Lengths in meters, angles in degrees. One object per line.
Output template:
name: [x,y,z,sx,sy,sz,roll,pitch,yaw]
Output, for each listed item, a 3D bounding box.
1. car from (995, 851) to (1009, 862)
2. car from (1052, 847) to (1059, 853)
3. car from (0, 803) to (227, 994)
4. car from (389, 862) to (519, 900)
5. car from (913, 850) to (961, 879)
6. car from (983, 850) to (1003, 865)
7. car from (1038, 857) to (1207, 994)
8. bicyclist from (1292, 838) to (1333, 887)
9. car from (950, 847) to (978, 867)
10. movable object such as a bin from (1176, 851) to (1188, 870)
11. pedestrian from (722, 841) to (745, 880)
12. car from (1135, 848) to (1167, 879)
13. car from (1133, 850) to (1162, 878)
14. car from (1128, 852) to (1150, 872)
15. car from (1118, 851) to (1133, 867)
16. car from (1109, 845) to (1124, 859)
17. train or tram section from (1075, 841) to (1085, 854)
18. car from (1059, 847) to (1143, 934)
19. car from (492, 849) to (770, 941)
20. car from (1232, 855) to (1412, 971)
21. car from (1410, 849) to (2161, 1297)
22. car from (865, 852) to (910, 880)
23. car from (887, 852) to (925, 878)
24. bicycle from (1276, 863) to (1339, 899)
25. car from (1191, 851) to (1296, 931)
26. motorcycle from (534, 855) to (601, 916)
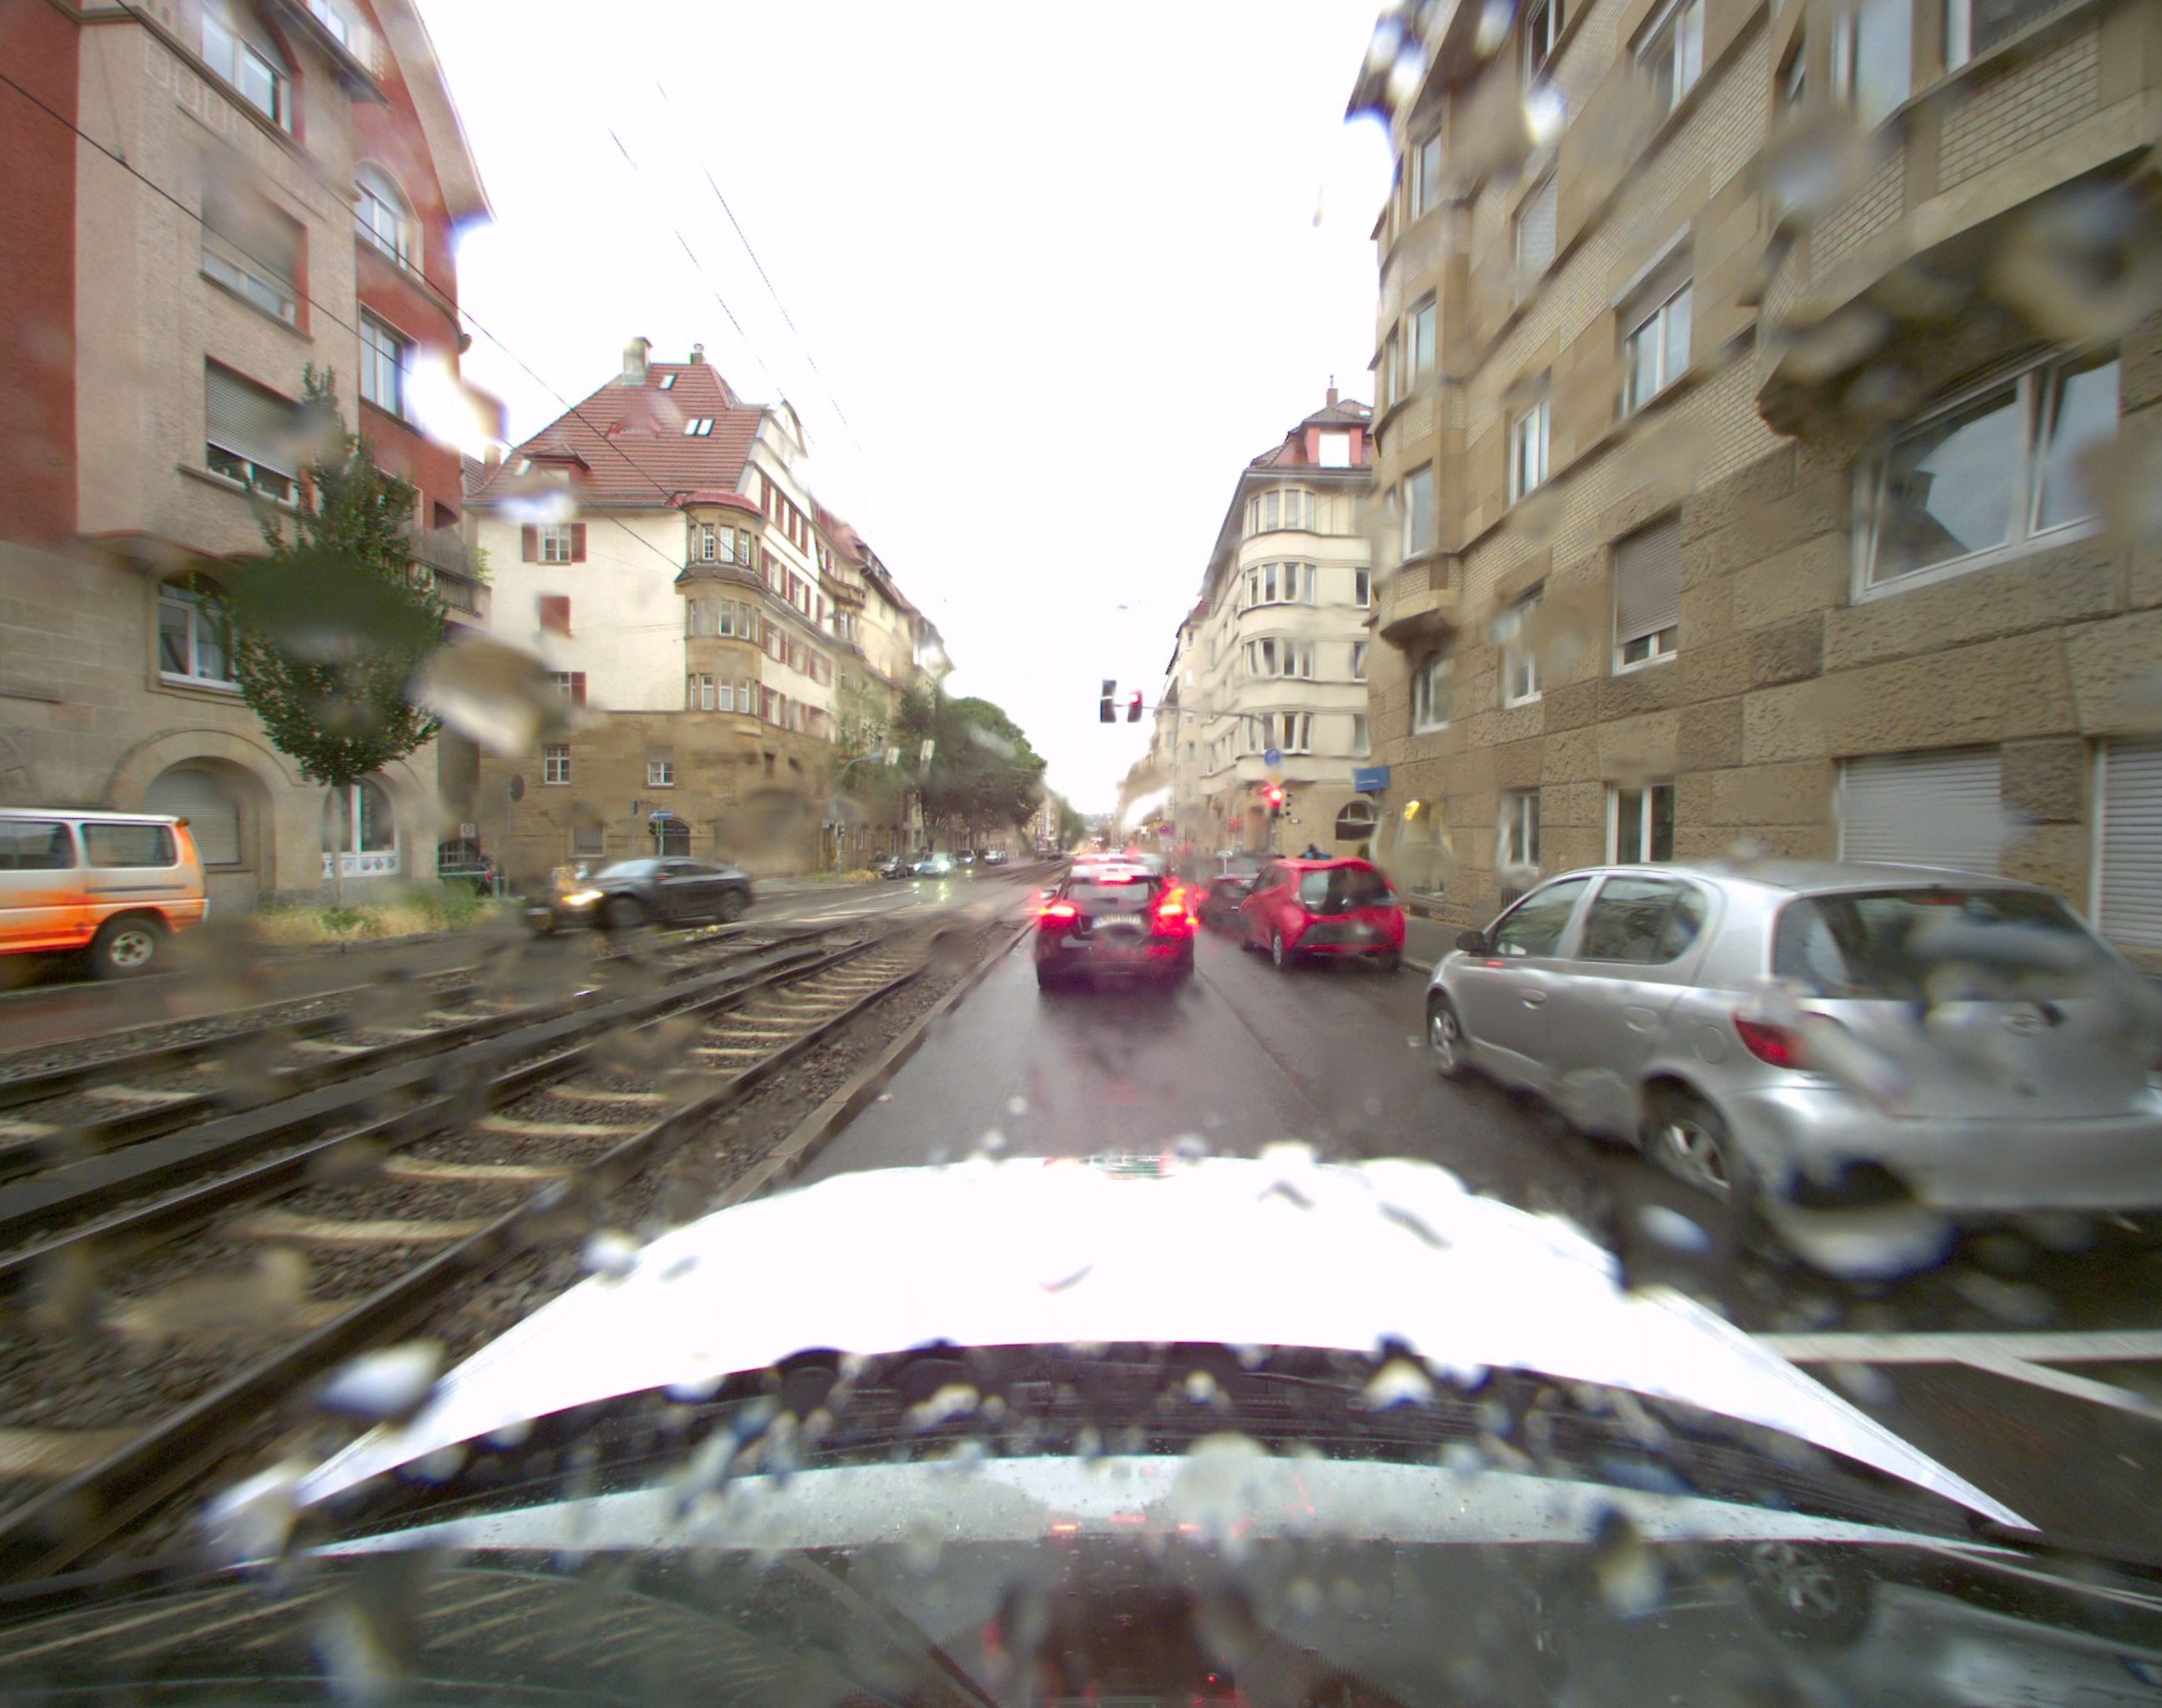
car: [-9.719,0.374,100.296,1.443,1.331,3.271,0,-1,0]
car: [-5.077,-0.840,163.521,1.372,1.249,3.297,0,-1,0]
car: [-12.080,0.468,8.494,1.725,1.975,4.341,0,-1,0]
car: [-24.332,1.030,31.697,3.632,1.404,1.699,0,-1,-3]
car: [-8.213,0.613,46.713,1.891,1.588,3.974,0,-1,2]
car: [-9.792,0.378,90.881,1.583,1.581,3.920,0,-1,2]
car: [0.510,0.782,10.842,1.822,1.458,4.105,0,0,2]
bicyclist: [7.796,0.285,27.472,1.241,1.597,0.890,-1,-1,12]
car: [-10.528,0.270,73.423,1.868,1.737,3.920,0,-1,2]
movable object such as a bin: [7.537,0.467,60.832,0.873,1.389,0.984,-1,-1,5]
pedestrian: [-15.373,0.292,36.017,0.625,1.672,0.707,-1,-1,41]
car: [3.757,0.512,43.979,1.539,1.590,3.549,0,0,2]
car: [3.900,0.559,48.453,1.539,1.590,3.549,0,0,2]
car: [4.479,0.575,62.860,1.539,1.486,3.549,0,0,2]
car: [4.094,0.460,74.951,1.289,1.442,2.930,0,0,2]
car: [4.899,-0.202,113.660,1.986,1.876,4.001,0,-1,2]
train or tram section: [-0.280,-1.884,242.157,2.772,3.861,10.433,0,-1,2]
car: [0.439,0.706,17.238,1.559,1.609,3.815,0,-1,2]
car: [-8.506,0.681,16.058,1.789,1.523,4.985,0,0,16]
car: [3.321,0.736,11.843,1.637,1.448,3.298,0,0,-1]
car: [3.187,0.737,4.378,1.608,1.467,3.314,-2,0,3]
car: [-11.197,0.673,47.400,1.747,1.552,4.033,0,-1,-2]
car: [-11.227,0.683,52.436,1.713,1.611,3.914,0,-1,-3]
bicycle: [7.625,0.891,27.491,2.017,1.186,0.829,-1,-1,12]
car: [3.289,0.695,17.087,1.539,1.486,3.831,0,0,2]
motorcycle: [-12.020,0.720,19.050,1.577,1.365,0.628,-1,-1,28]
